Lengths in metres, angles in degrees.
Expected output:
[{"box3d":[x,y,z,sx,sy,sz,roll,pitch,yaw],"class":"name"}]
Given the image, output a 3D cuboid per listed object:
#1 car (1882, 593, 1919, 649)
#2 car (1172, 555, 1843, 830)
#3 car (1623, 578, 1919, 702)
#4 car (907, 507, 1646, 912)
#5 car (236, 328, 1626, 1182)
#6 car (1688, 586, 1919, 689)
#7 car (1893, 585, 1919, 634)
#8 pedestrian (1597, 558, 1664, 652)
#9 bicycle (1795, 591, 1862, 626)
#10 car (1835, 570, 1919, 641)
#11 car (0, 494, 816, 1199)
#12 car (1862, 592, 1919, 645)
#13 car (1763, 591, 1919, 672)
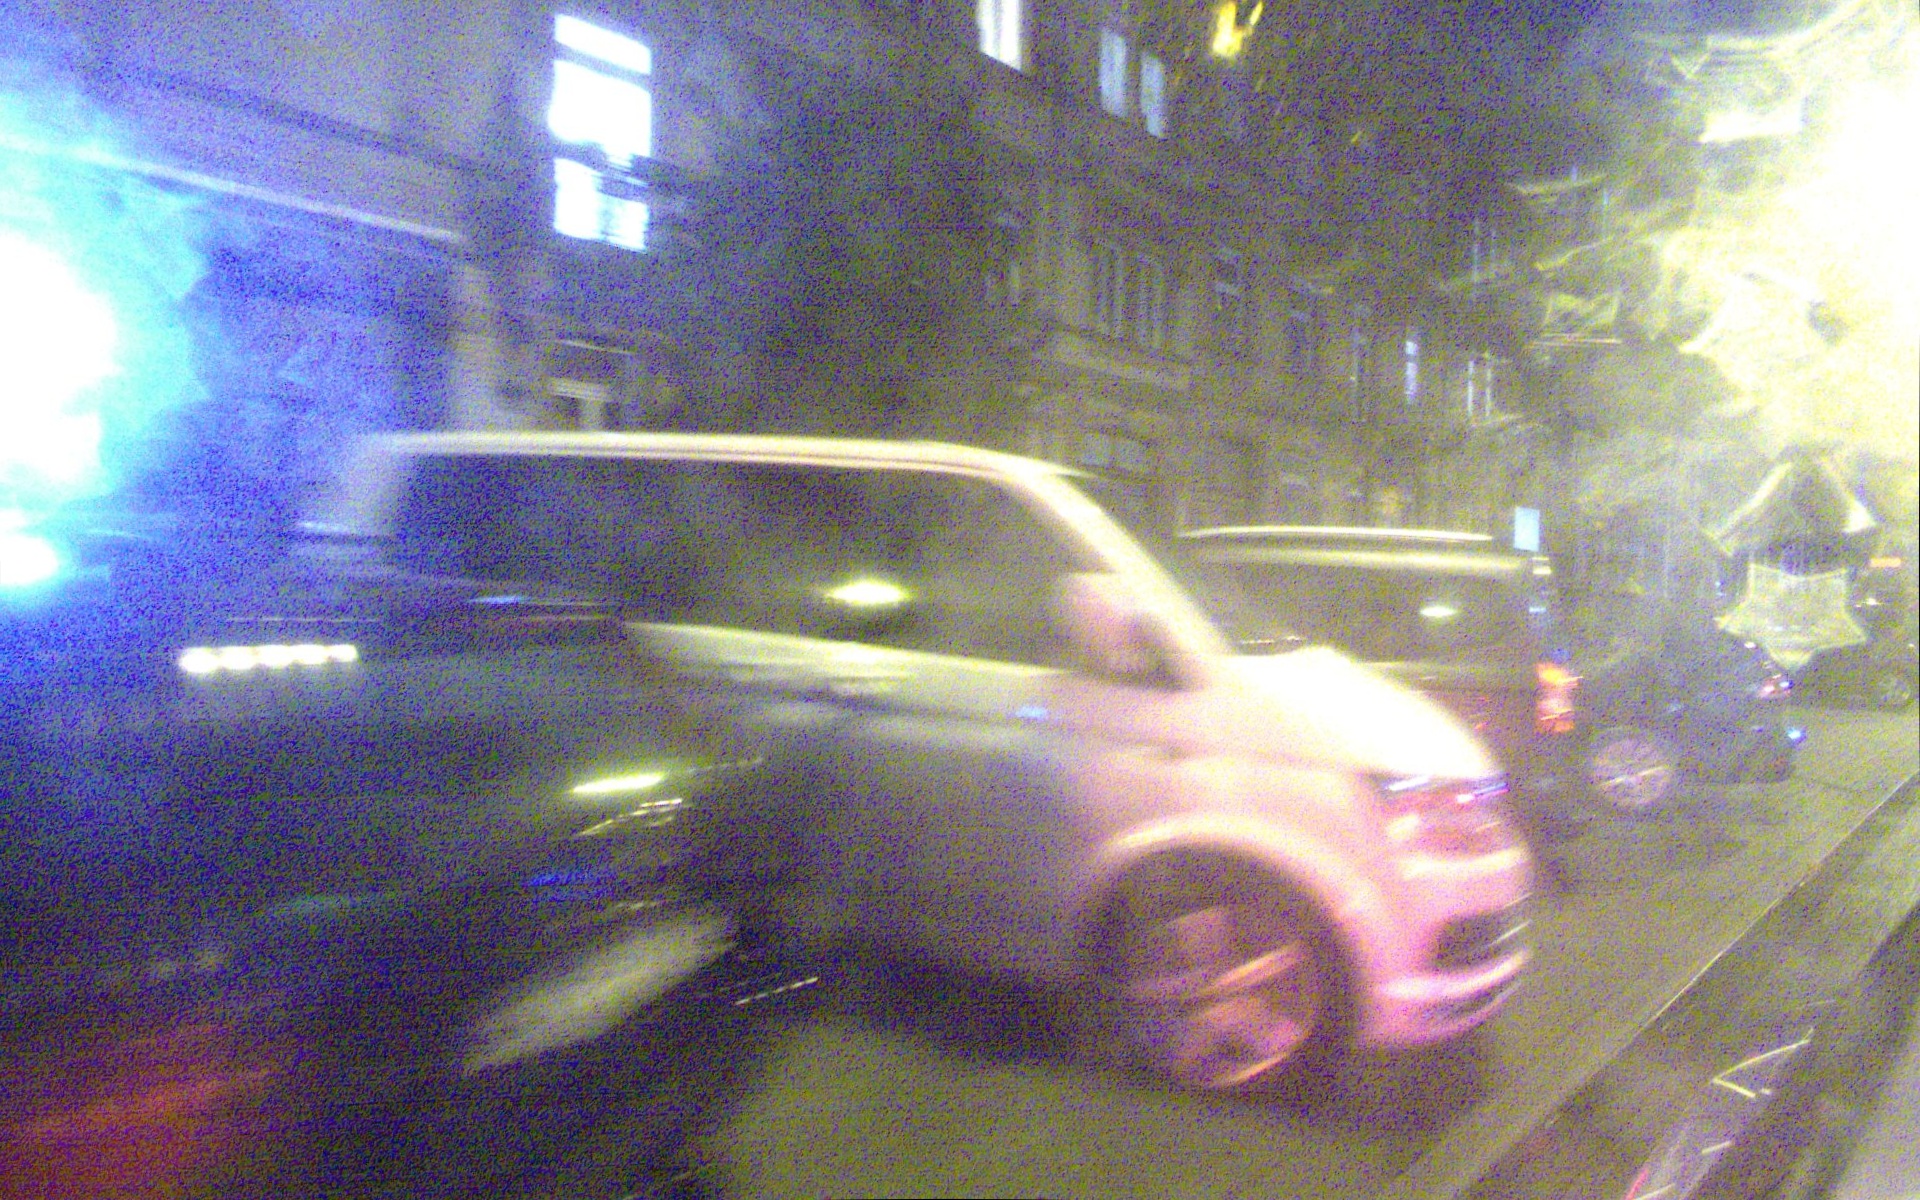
[{"box3d":[29.197,0.666,29.054,3.608,1.561,1.550,3,2,20],"class":"car"},{"box3d":[3.735,0.508,7.642,3.950,1.511,1.724,3,3,19],"class":"car"},{"box3d":[12.364,0.559,15.222,3.603,1.600,1.585,3,1,16],"class":"car"},{"box3d":[1.650,0.412,5.927,3.523,1.732,1.635,4,3,21],"class":"car"},{"box3d":[-0.319,0.302,4.226,4.739,2.074,2.054,2,1,19],"class":"car"},{"box3d":[14.695,0.595,17.022,3.595,1.600,1.588,1,1,11],"class":"car"},{"box3d":[39.569,0.475,39.492,4.186,1.881,1.710,3,3,14],"class":"car"},{"box3d":[14.053,0.085,21.202,0.976,1.878,0.870,1,3,-43],"class":"pedestrian"},{"box3d":[37.244,0.357,43.407,0.767,1.351,1.980,1,4,-34],"class":"bicycle"},{"box3d":[32.633,0.229,33.801,4.655,2.275,1.939,2,2,14],"class":"car"},{"box3d":[-2.216,0.538,2.185,3.469,1.512,1.442,3,3,18],"class":"car"},{"box3d":[30.821,0.617,31.751,3.350,1.561,1.572,2,2,14],"class":"car"},{"box3d":[19.052,0.651,20.753,3.631,1.478,1.597,3,2,15],"class":"car"}]
